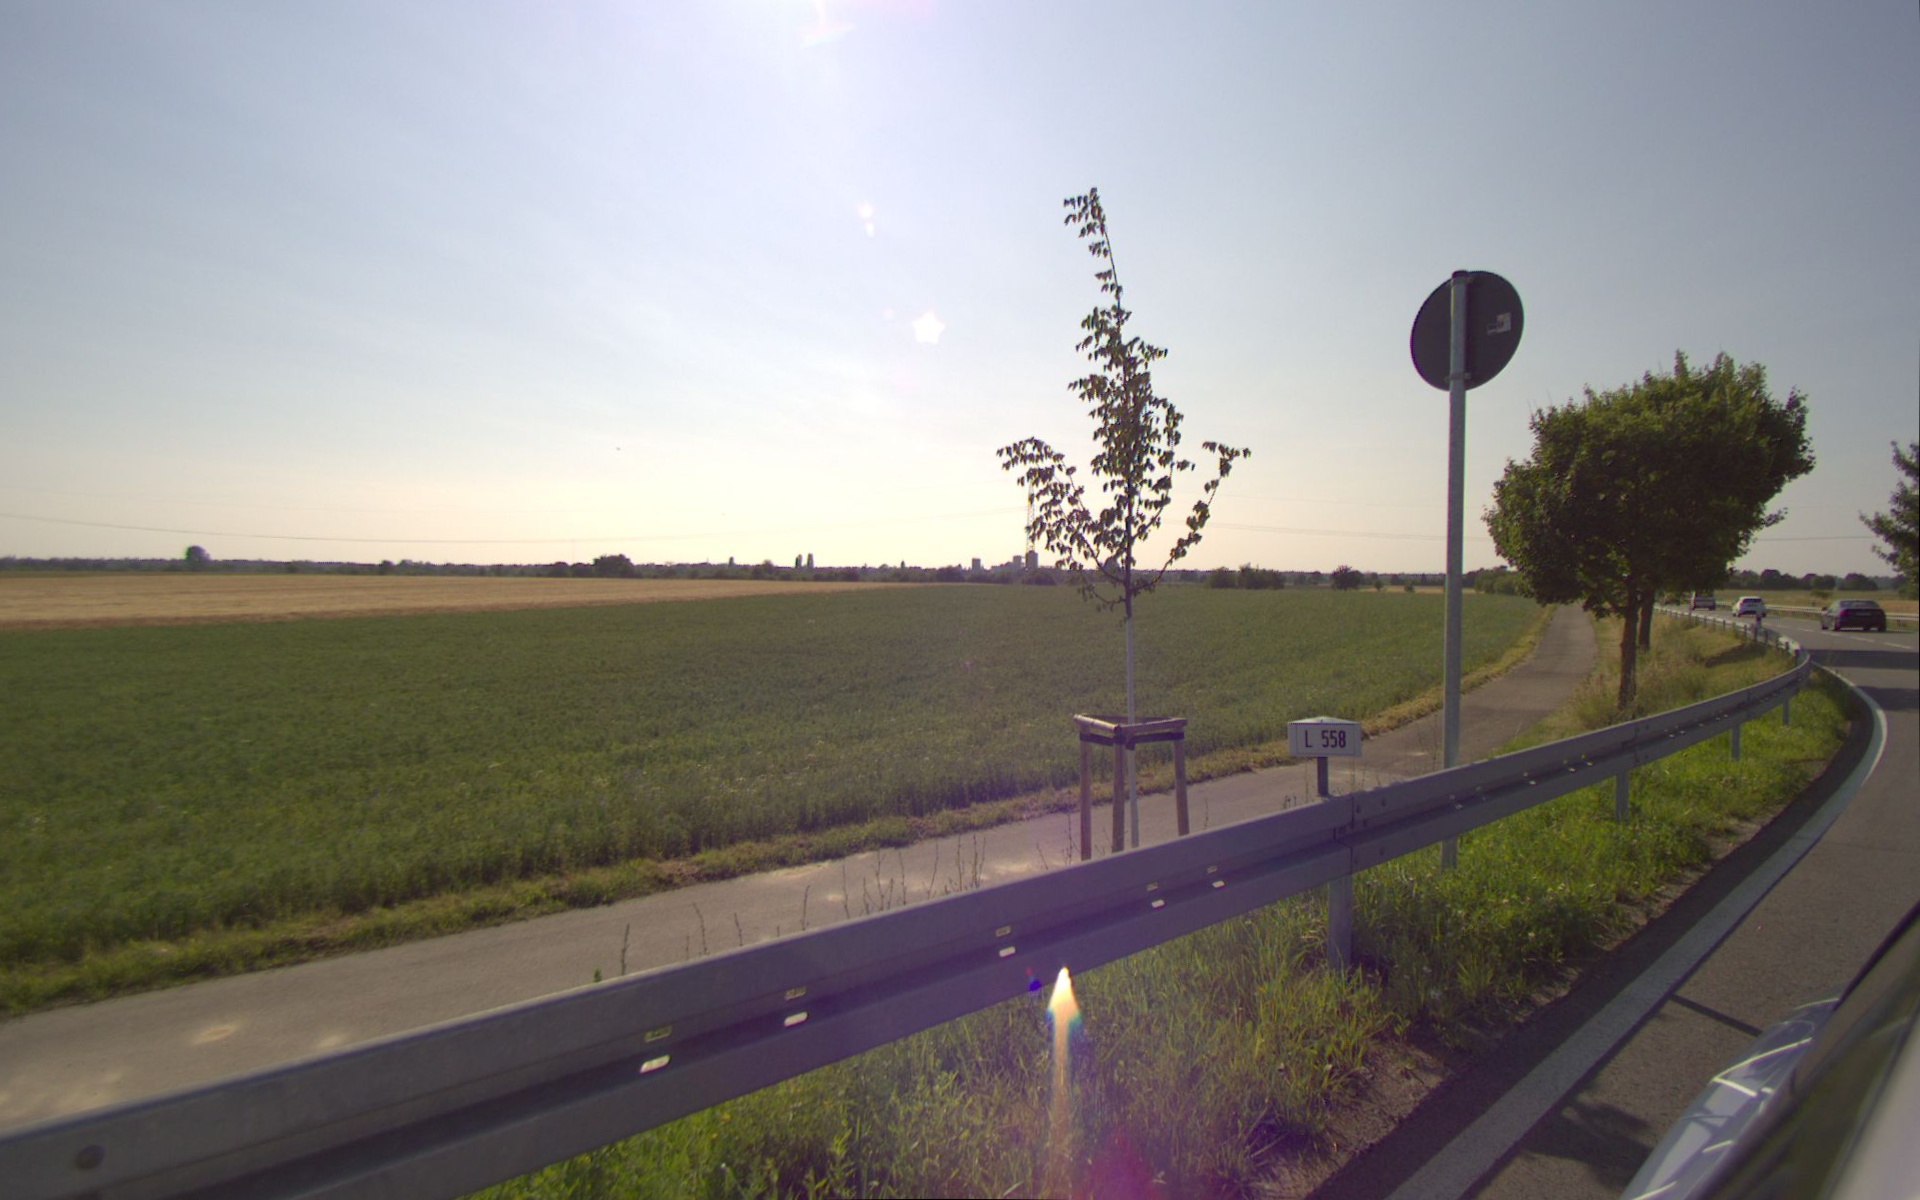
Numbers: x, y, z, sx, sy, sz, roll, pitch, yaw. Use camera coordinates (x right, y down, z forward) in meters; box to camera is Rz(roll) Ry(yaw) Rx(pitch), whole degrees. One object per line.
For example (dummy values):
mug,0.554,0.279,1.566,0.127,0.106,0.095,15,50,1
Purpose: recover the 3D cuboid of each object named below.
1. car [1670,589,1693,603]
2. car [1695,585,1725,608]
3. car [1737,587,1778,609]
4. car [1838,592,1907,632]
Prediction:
car,91.507,-0.545,128.373,1.999,1.604,4.775,1,2,31
car,72.856,-0.364,98.377,1.904,2.039,4.730,-1,1,32
car,57.361,-0.133,72.801,1.742,1.447,3.806,-1,1,30
car,40.718,0.498,45.249,1.833,1.563,4.190,-2,1,37
